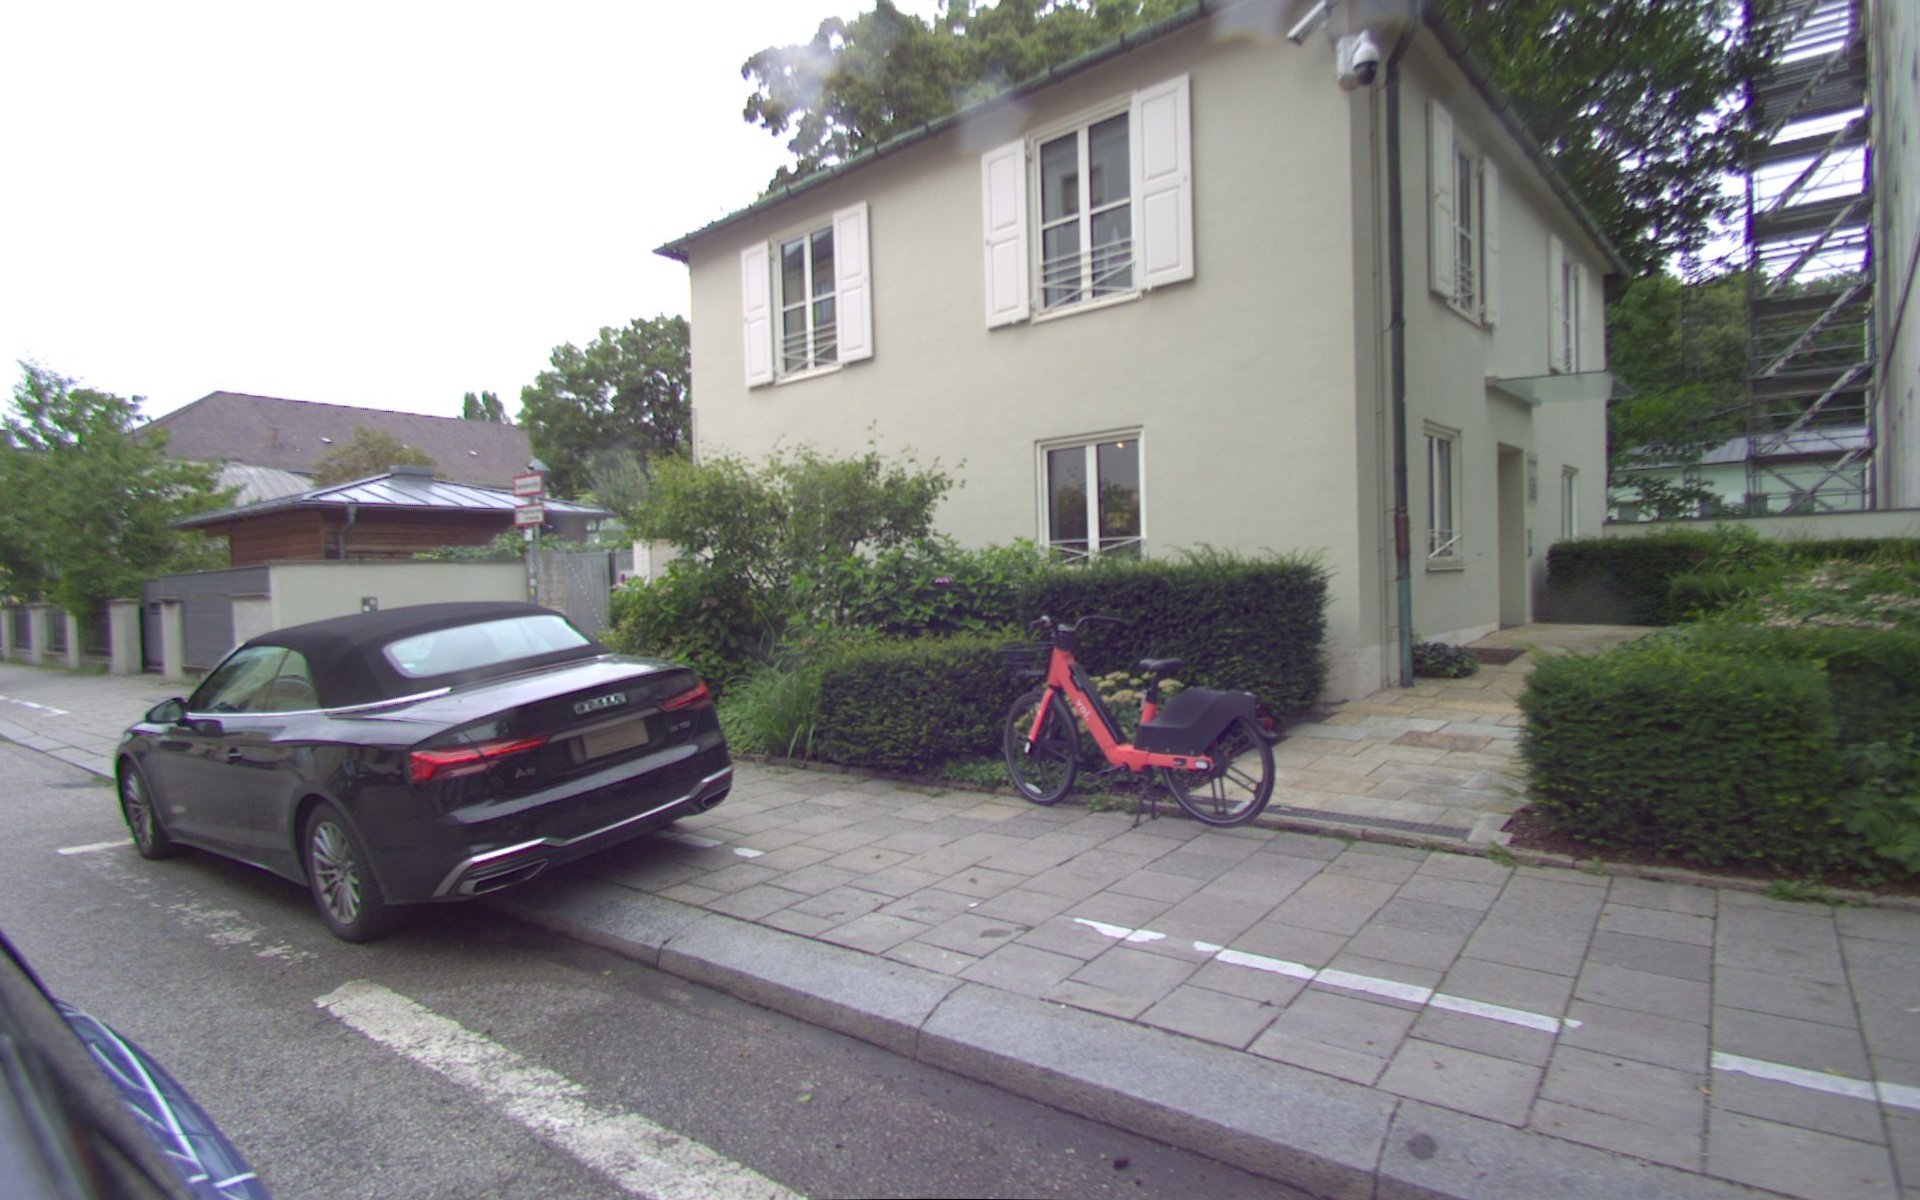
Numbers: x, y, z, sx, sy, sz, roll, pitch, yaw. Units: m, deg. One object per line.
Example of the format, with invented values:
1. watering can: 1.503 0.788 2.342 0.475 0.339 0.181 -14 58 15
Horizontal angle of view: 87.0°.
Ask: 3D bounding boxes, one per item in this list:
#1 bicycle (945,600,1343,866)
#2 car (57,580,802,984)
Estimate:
1. bicycle: 0.877 0.593 5.358 0.642 1.139 2.048 -2 1 -45
2. car: -3.342 0.701 5.893 4.914 1.412 1.792 -1 3 36
